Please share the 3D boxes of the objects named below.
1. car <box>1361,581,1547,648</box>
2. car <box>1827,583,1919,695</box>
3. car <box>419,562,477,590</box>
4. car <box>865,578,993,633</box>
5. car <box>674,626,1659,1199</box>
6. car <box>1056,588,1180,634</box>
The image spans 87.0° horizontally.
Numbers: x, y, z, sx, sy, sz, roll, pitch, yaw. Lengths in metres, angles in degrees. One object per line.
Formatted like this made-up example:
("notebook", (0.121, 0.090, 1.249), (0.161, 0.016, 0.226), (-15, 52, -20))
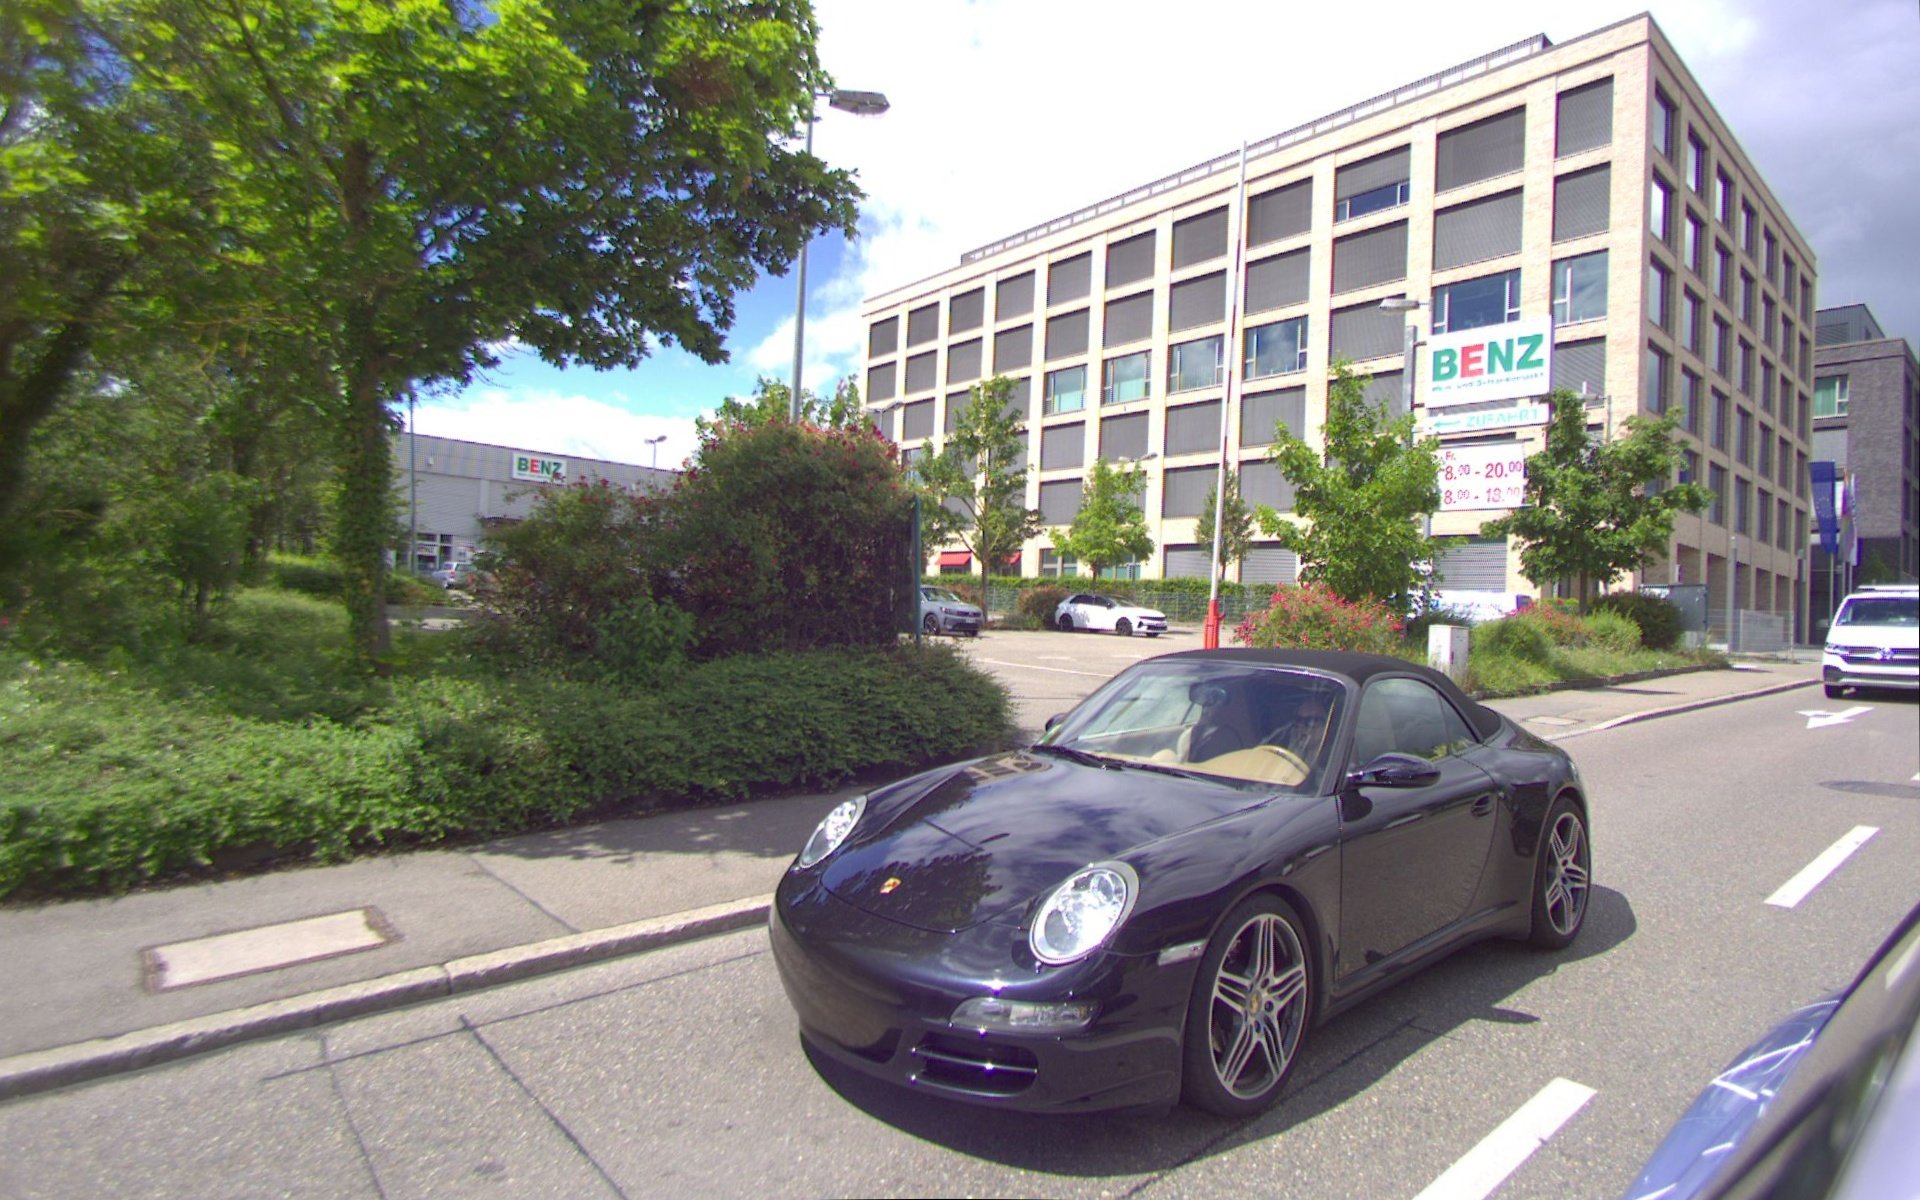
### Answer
("car", (13.324, 0.344, 27.466), (1.707, 1.596, 4.211), (0, 1, -44))
("car", (17.572, 0.661, 18.497), (4.563, 1.874, 1.962), (0, -1, -41))
("car", (-27.244, -1.230, 53.793), (1.769, 1.427, 3.992), (-1, 1, -42))
("car", (-0.971, 0.124, 29.767), (1.572, 1.427, 3.994), (1, 1, -41))
("car", (1.254, 0.799, 4.379), (4.487, 1.290, 1.776), (0, -1, -40))
("car", (5.511, 0.335, 35.682), (1.705, 1.436, 4.215), (1, 1, -41))
